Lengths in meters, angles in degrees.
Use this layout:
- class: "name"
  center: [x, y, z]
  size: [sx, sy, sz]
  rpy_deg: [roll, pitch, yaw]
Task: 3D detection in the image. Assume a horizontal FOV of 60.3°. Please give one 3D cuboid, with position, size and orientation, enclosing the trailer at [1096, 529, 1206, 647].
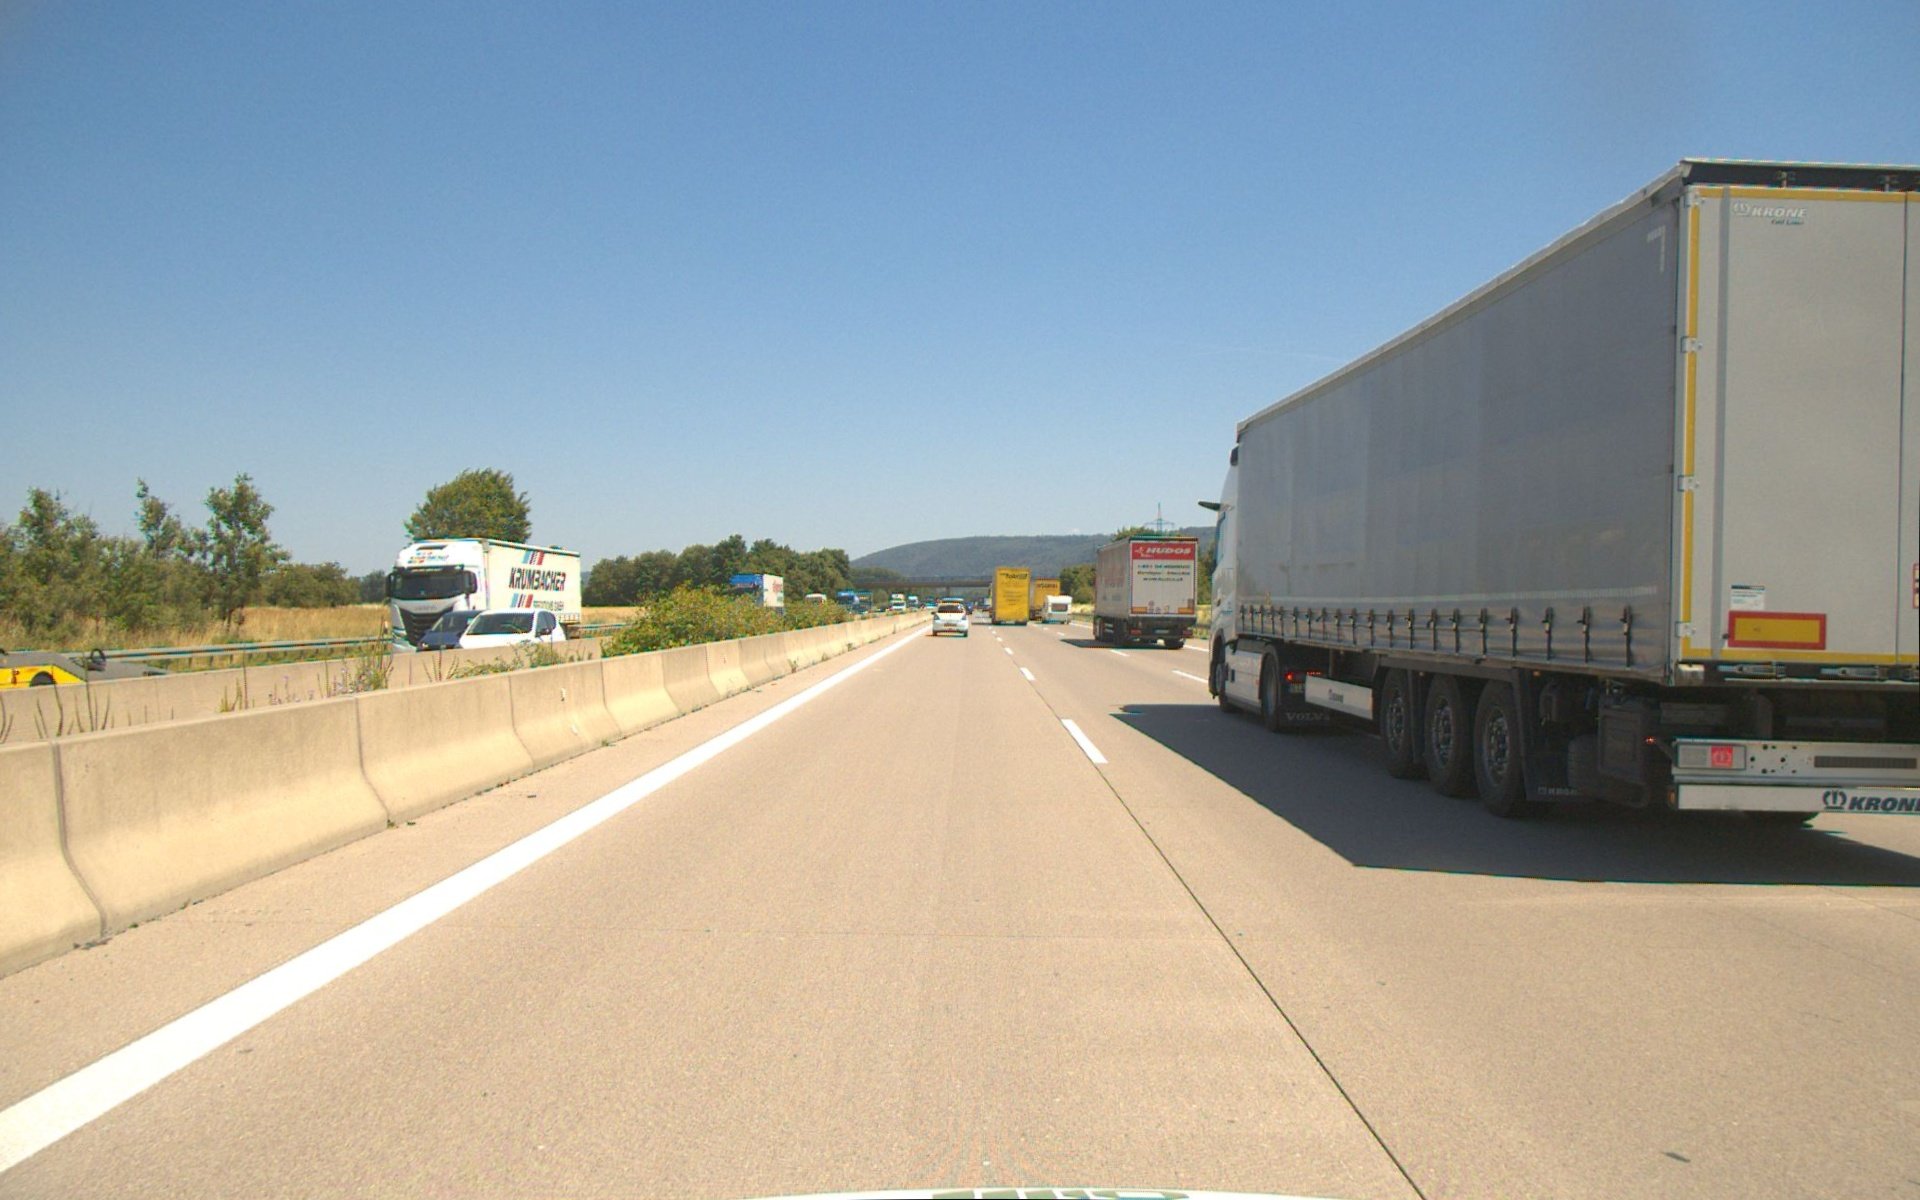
- class: "trailer"
  center: [7.435, -0.425, 66.332]
  size: [2.815, 4.172, 13.512]
  rpy_deg: [1, 0, 0]

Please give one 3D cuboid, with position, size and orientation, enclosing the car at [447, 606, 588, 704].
- class: "car"
  center: [-8.993, 1.065, 33.987]
  size: [1.671, 1.835, 4.713]
  rpy_deg: [0, 0, -1]

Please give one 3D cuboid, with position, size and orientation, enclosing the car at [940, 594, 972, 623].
- class: "car"
  center: [-0.277, 0.626, 121.211]
  size: [2.208, 2.049, 4.298]
  rpy_deg: [1, 0, 1]

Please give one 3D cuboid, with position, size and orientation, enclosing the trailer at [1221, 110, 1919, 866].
- class: "trailer"
  center: [5.311, -0.601, 16.241]
  size: [2.956, 4.132, 14.204]
  rpy_deg: [1, 0, -1]

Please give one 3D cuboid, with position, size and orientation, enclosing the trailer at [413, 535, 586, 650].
- class: "trailer"
  center: [-17.309, -0.247, 63.504]
  size: [2.713, 3.869, 13.827]
  rpy_deg: [1, 0, 0]

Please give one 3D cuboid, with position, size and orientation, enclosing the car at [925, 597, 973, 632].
- class: "car"
  center: [-0.486, 0.675, 77.770]
  size: [2.063, 1.563, 4.123]
  rpy_deg: [1, 0, 2]

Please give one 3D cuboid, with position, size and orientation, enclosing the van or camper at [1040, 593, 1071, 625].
- class: "van or camper"
  center: [7.963, 0.739, 138.387]
  size: [2.179, 2.575, 5.430]
  rpy_deg: [1, 0, 0]

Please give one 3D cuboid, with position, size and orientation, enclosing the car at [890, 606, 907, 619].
- class: "car"
  center: [-8.482, 1.721, 227.806]
  size: [2.095, 1.708, 5.644]
  rpy_deg: [-2, 0, 0]

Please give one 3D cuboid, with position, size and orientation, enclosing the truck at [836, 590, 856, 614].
- class: "truck"
  center: [-16.225, 0.258, 235.134]
  size: [2.433, 3.367, 5.263]
  rpy_deg: [1, 0, 0]

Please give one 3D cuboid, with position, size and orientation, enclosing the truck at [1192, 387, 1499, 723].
- class: "truck"
  center: [5.217, -0.558, 23.449]
  size: [2.923, 4.133, 5.477]
  rpy_deg: [1, 0, -1]

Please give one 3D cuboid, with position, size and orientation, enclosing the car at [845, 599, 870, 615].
- class: "car"
  center: [-8.865, 0.610, 143.489]
  size: [1.859, 1.349, 5.069]
  rpy_deg: [1, 0, 0]

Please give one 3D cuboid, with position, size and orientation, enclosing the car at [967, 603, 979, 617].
- class: "car"
  center: [1.871, 1.466, 235.475]
  size: [1.747, 1.914, 4.000]
  rpy_deg: [1, 0, 1]

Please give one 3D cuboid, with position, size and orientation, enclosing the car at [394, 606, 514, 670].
- class: "car"
  center: [-13.659, 0.991, 44.909]
  size: [1.953, 1.611, 4.369]
  rpy_deg: [0, 0, -1]

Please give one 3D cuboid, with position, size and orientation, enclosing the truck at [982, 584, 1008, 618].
- class: "truck"
  center: [3.994, 0.099, 189.640]
  size: [2.762, 3.827, 6.284]
  rpy_deg: [1, 0, 0]

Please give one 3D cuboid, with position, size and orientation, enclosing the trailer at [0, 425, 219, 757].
- class: "trailer"
  center: [-13.270, -0.140, 19.022]
  size: [2.719, 4.110, 14.612]
  rpy_deg: [1, 0, 0]

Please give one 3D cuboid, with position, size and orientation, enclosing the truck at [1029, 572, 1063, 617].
- class: "truck"
  center: [8.689, -0.549, 167.572]
  size: [2.937, 4.390, 9.684]
  rpy_deg: [1, 0, 0]

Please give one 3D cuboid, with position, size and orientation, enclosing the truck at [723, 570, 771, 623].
- class: "truck"
  center: [-16.350, -0.281, 127.323]
  size: [2.838, 3.931, 5.684]
  rpy_deg: [1, 0, 0]

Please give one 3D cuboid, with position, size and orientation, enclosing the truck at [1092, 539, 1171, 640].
- class: "truck"
  center: [7.458, -0.427, 72.777]
  size: [2.846, 4.172, 6.272]
  rpy_deg: [1, 0, 1]

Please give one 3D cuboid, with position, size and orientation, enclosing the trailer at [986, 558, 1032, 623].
- class: "trailer"
  center: [3.680, -0.672, 126.837]
  size: [3.150, 4.643, 13.457]
  rpy_deg: [1, 0, 1]

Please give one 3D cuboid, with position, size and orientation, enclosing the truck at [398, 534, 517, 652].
- class: "truck"
  center: [-17.530, -0.248, 57.998]
  size: [2.713, 3.907, 4.451]
  rpy_deg: [1, 0, 0]
